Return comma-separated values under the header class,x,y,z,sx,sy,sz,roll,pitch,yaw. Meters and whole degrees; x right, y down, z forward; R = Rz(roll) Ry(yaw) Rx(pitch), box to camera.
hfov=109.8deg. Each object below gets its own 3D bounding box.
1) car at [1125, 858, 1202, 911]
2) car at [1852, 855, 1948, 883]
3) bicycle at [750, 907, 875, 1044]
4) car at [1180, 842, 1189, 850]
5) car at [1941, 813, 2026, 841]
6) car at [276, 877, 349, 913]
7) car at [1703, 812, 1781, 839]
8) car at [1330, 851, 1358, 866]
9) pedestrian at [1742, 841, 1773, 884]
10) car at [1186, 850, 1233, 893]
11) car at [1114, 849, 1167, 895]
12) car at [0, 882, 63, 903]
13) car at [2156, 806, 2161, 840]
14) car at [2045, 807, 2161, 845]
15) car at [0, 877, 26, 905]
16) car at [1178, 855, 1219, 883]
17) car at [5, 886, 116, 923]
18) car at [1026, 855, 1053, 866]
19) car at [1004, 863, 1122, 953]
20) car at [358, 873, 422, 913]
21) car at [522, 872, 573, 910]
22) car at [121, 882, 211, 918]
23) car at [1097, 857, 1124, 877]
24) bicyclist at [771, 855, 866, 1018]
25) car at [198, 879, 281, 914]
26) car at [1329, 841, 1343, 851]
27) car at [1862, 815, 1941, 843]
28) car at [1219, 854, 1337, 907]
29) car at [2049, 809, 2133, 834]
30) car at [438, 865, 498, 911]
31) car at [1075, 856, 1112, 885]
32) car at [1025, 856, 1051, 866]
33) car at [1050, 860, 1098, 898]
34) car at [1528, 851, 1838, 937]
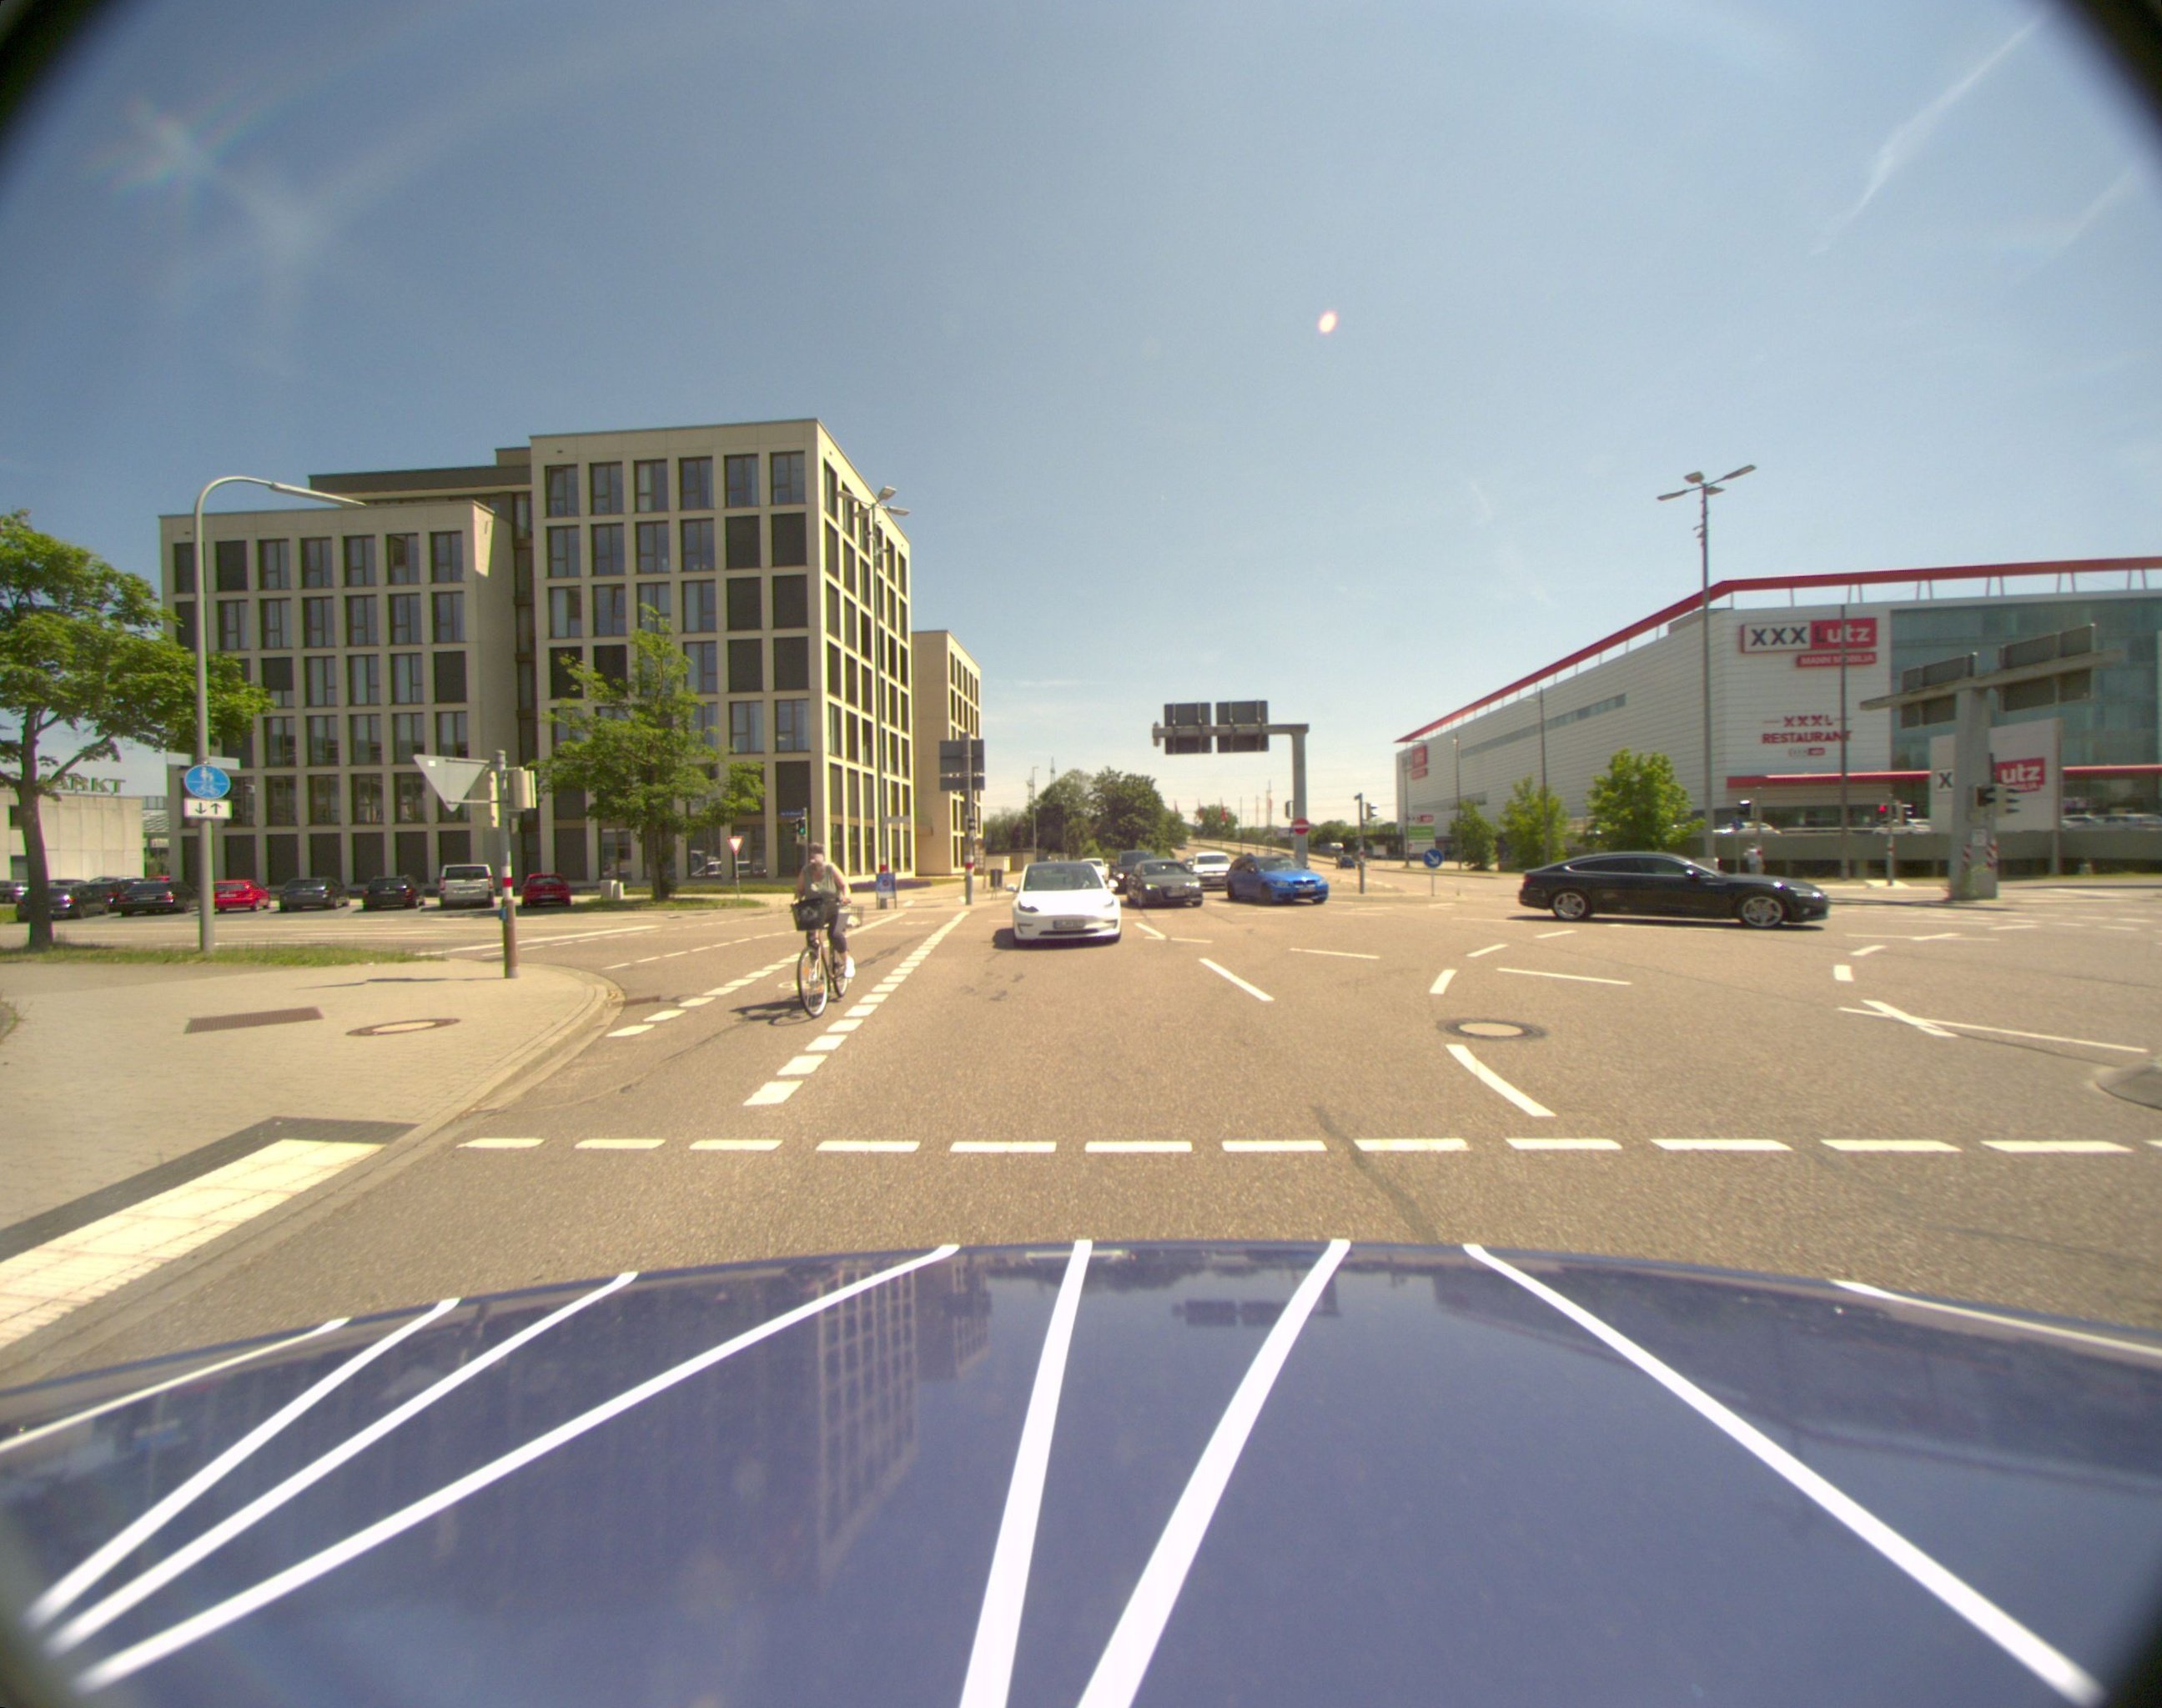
class,x,y,z,sx,sy,sz,roll,pitch,yaw
car,2.399,0.851,23.067,1.769,1.374,4.089,-1,0,-1
car,53.163,0.963,49.373,3.996,1.696,2.000,-1,0,1
bicycle,-2.742,1.191,7.983,0.629,1.126,1.894,-1,0,-1
car,23.537,-1.765,172.767,1.997,1.696,4.002,-1,0,7
car,68.415,-2.032,57.697,1.781,2.002,4.136,-1,0,5
car,-34.494,1.787,34.213,1.923,1.431,3.989,-1,0,-40
car,52.080,-2.211,59.890,4.468,2.002,1.679,-1,0,6
car,30.045,0.489,86.901,1.998,1.587,4.001,-1,1,5
pedestrian,28.408,0.351,31.907,0.604,1.773,0.827,-1,1,7
car,5.572,0.701,32.917,1.768,1.631,4.494,-3,0,10
car,2.713,0.714,33.545,1.894,1.810,4.840,-2,0,9
car,-69.728,2.563,49.831,3.995,1.149,1.696,-3,0,6
car,64.636,-1.844,42.840,1.998,2.002,4.329,-1,0,1
car,59.010,-1.572,43.573,1.998,2.002,4.329,-1,0,1
car,-68.853,2.415,47.363,3.995,1.718,1.797,-3,0,7
car,6.610,0.826,42.393,1.767,1.414,3.904,-3,-1,15
car,-43.174,2.100,32.252,1.923,1.325,3.989,-1,0,-40
car,-6.323,0.990,115.008,3.833,1.543,1.737,-1,0,-10
car,-0.517,0.950,15.259,1.824,1.427,4.281,-3,0,-8
car,-30.531,1.688,33.681,1.923,1.580,3.989,-1,0,-40
car,-23.520,1.589,33.528,1.703,1.424,3.989,-2,1,-35
car,-40.756,2.002,33.945,1.878,1.367,3.989,-1,0,-40
car,2.329,1.009,59.073,1.768,1.395,3.952,-2,0,6
bicyclist,-2.742,0.827,8.004,0.629,1.596,0.825,-3,0,-1
car,-37.656,1.866,34.111,1.923,1.345,3.989,-1,0,-40
car,60.040,-1.900,178.629,2.191,2.270,4.816,-1,0,7
car,63.354,-1.911,58.762,1.781,2.002,4.234,-1,0,5
car,5.821,0.744,23.043,1.771,1.394,4.428,-2,0,-9
car,81.236,-2.577,61.203,1.781,1.777,3.841,-1,0,5
car,-27.283,1.470,33.750,1.923,1.875,4.919,-2,0,-40
car,0.813,0.992,46.499,1.777,1.600,3.822,-1,1,7
car,-6.662,1.063,116.931,3.833,1.386,1.737,-1,0,-10
car,-0.249,1.046,33.425,1.556,1.528,3.823,-1,0,8
car,11.264,0.674,14.504,4.454,1.396,1.680,-1,0,43
